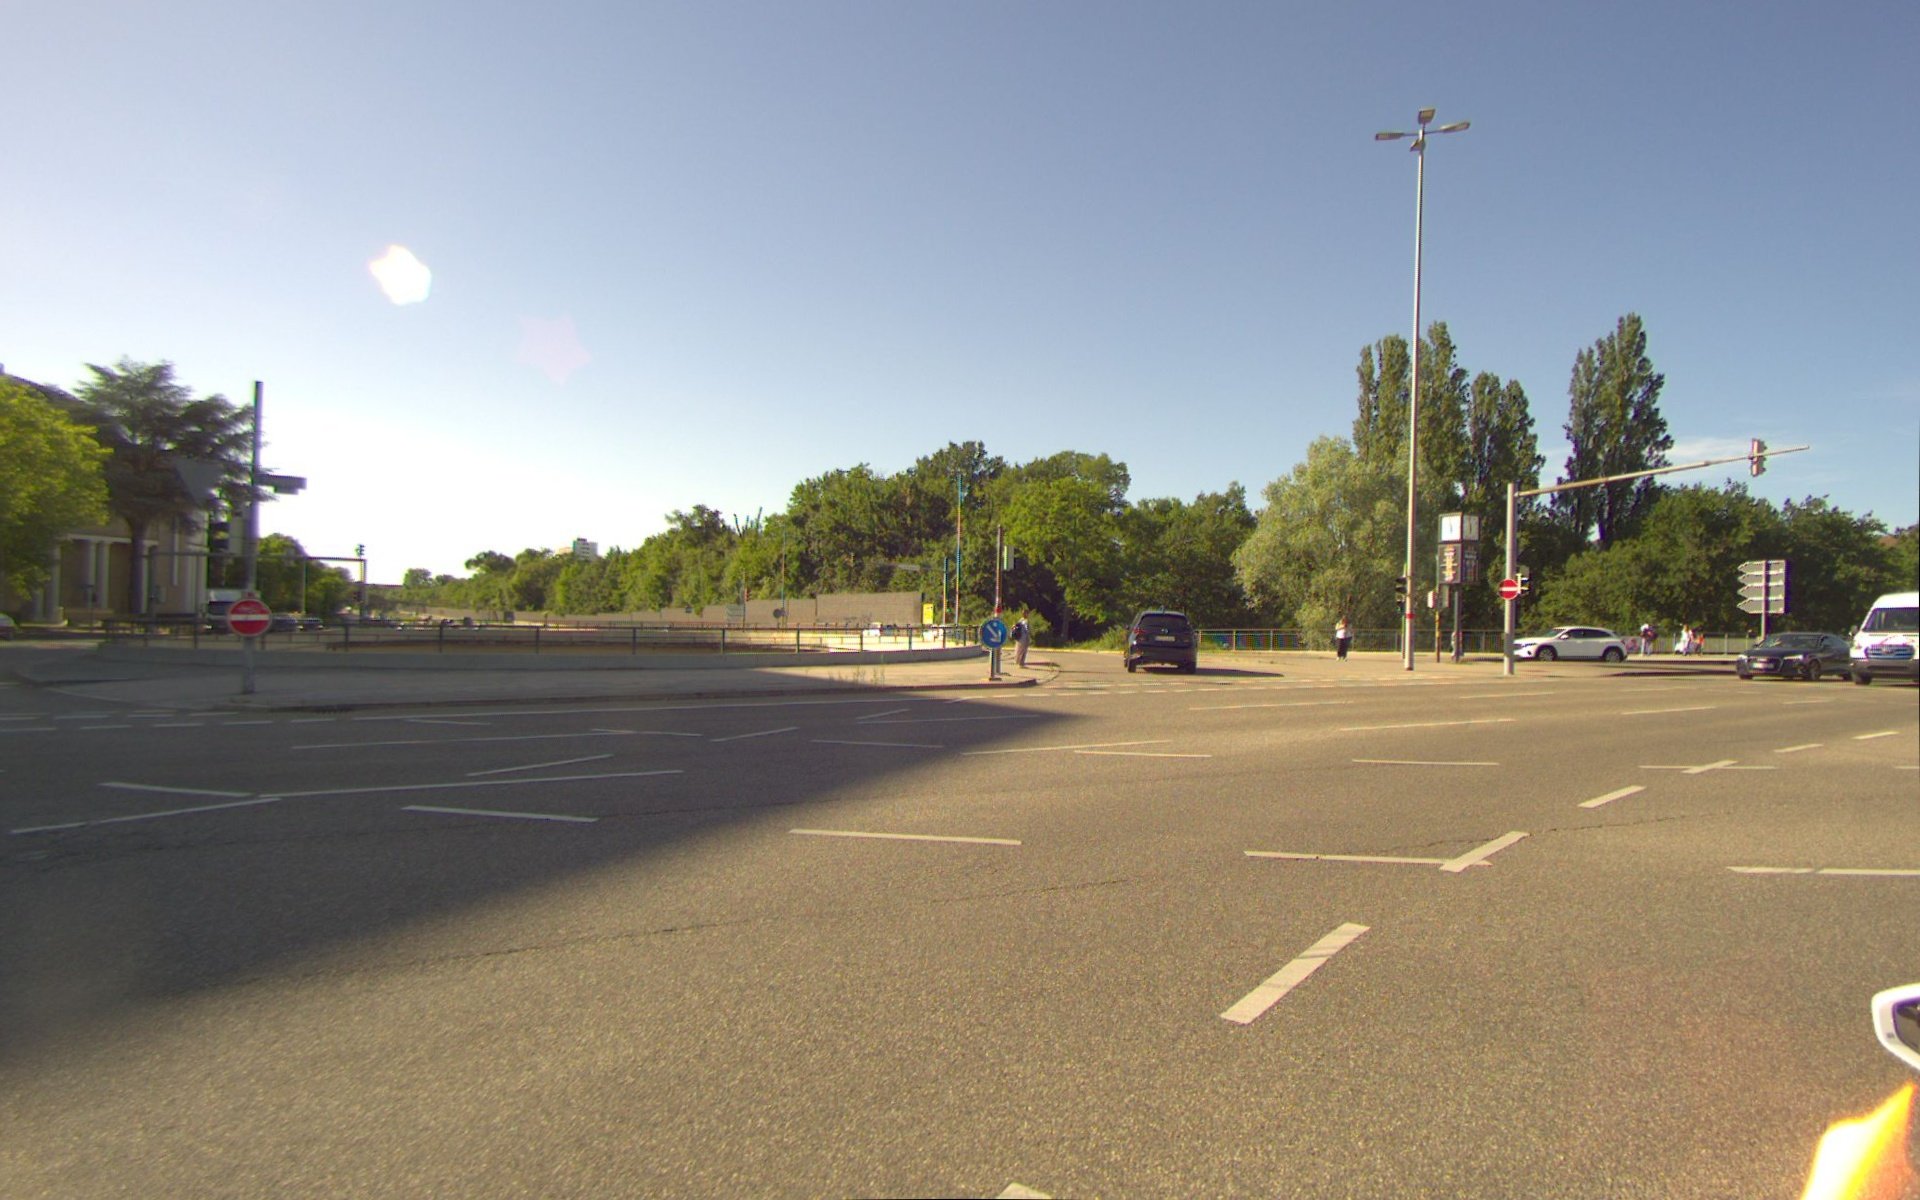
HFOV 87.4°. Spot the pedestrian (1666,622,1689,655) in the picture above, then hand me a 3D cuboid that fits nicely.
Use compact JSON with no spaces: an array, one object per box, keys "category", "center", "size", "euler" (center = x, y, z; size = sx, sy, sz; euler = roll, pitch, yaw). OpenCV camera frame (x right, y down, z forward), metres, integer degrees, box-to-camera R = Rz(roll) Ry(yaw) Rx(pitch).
[{"category":"pedestrian","center":[37.869,2.033,53.026],"size":[0.663,1.663,0.718],"euler":[3,0,-24]}]

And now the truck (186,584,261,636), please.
[{"category":"truck","center":[-59.223,0.705,81.051],"size":[3.808,3.847,9.267],"euler":[1,1,-30]}]

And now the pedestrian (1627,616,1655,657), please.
[{"category":"pedestrian","center":[34.991,1.889,51.631],"size":[0.777,2.023,0.804],"euler":[3,0,-24]}]

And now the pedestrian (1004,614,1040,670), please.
[{"category":"pedestrian","center":[1.679,1.131,27.089],"size":[0.670,1.482,0.701],"euler":[1,-1,35]}]

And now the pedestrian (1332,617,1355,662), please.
[{"category":"pedestrian","center":[13.831,1.420,36.205],"size":[0.698,1.568,0.728],"euler":[1,-1,25]}]

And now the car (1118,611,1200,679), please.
[{"category":"car","center":[5.467,1.195,28.060],"size":[1.842,1.731,4.199],"euler":[1,-1,6]}]

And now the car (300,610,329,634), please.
[{"category":"car","center":[-63.159,2.146,98.307],"size":[1.976,2.040,3.970],"euler":[4,-1,-28]}]

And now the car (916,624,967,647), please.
[{"category":"car","center":[-1.218,2.313,65.191],"size":[1.762,1.433,4.293],"euler":[1,-2,-25]}]

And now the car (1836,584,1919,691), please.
[{"category":"car","center":[25.776,0.993,26.655],"size":[6.015,2.610,1.928],"euler":[1,-1,-29]}]

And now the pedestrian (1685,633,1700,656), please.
[{"category":"pedestrian","center":[38.230,2.328,52.430],"size":[0.392,1.151,0.422],"euler":[3,0,-24]}]

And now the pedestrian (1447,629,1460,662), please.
[{"category":"pedestrian","center":[23.767,2.174,48.390],"size":[0.547,1.568,0.576],"euler":[0,-2,25]}]

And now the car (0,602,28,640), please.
[{"category":"car","center":[-45.932,0.971,47.210],"size":[1.790,1.722,4.172],"euler":[1,-1,-24]}]

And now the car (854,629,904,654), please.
[{"category":"car","center":[-5.465,2.768,67.545],"size":[1.974,1.528,3.972],"euler":[1,-1,-27]}]

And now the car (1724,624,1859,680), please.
[{"category":"car","center":[24.440,1.489,29.505],"size":[3.956,1.527,1.926],"euler":[1,-2,-32]}]

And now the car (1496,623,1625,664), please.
[{"category":"car","center":[24.668,1.775,41.378],"size":[4.243,1.556,1.785],"euler":[1,0,0]}]

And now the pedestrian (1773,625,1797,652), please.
[{"category":"pedestrian","center":[48.066,2.239,58.517],"size":[0.765,1.522,0.671],"euler":[3,0,-9]}]

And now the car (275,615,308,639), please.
[{"category":"car","center":[-54.543,2.203,82.013],"size":[1.719,1.706,4.022],"euler":[4,-1,-28]}]
